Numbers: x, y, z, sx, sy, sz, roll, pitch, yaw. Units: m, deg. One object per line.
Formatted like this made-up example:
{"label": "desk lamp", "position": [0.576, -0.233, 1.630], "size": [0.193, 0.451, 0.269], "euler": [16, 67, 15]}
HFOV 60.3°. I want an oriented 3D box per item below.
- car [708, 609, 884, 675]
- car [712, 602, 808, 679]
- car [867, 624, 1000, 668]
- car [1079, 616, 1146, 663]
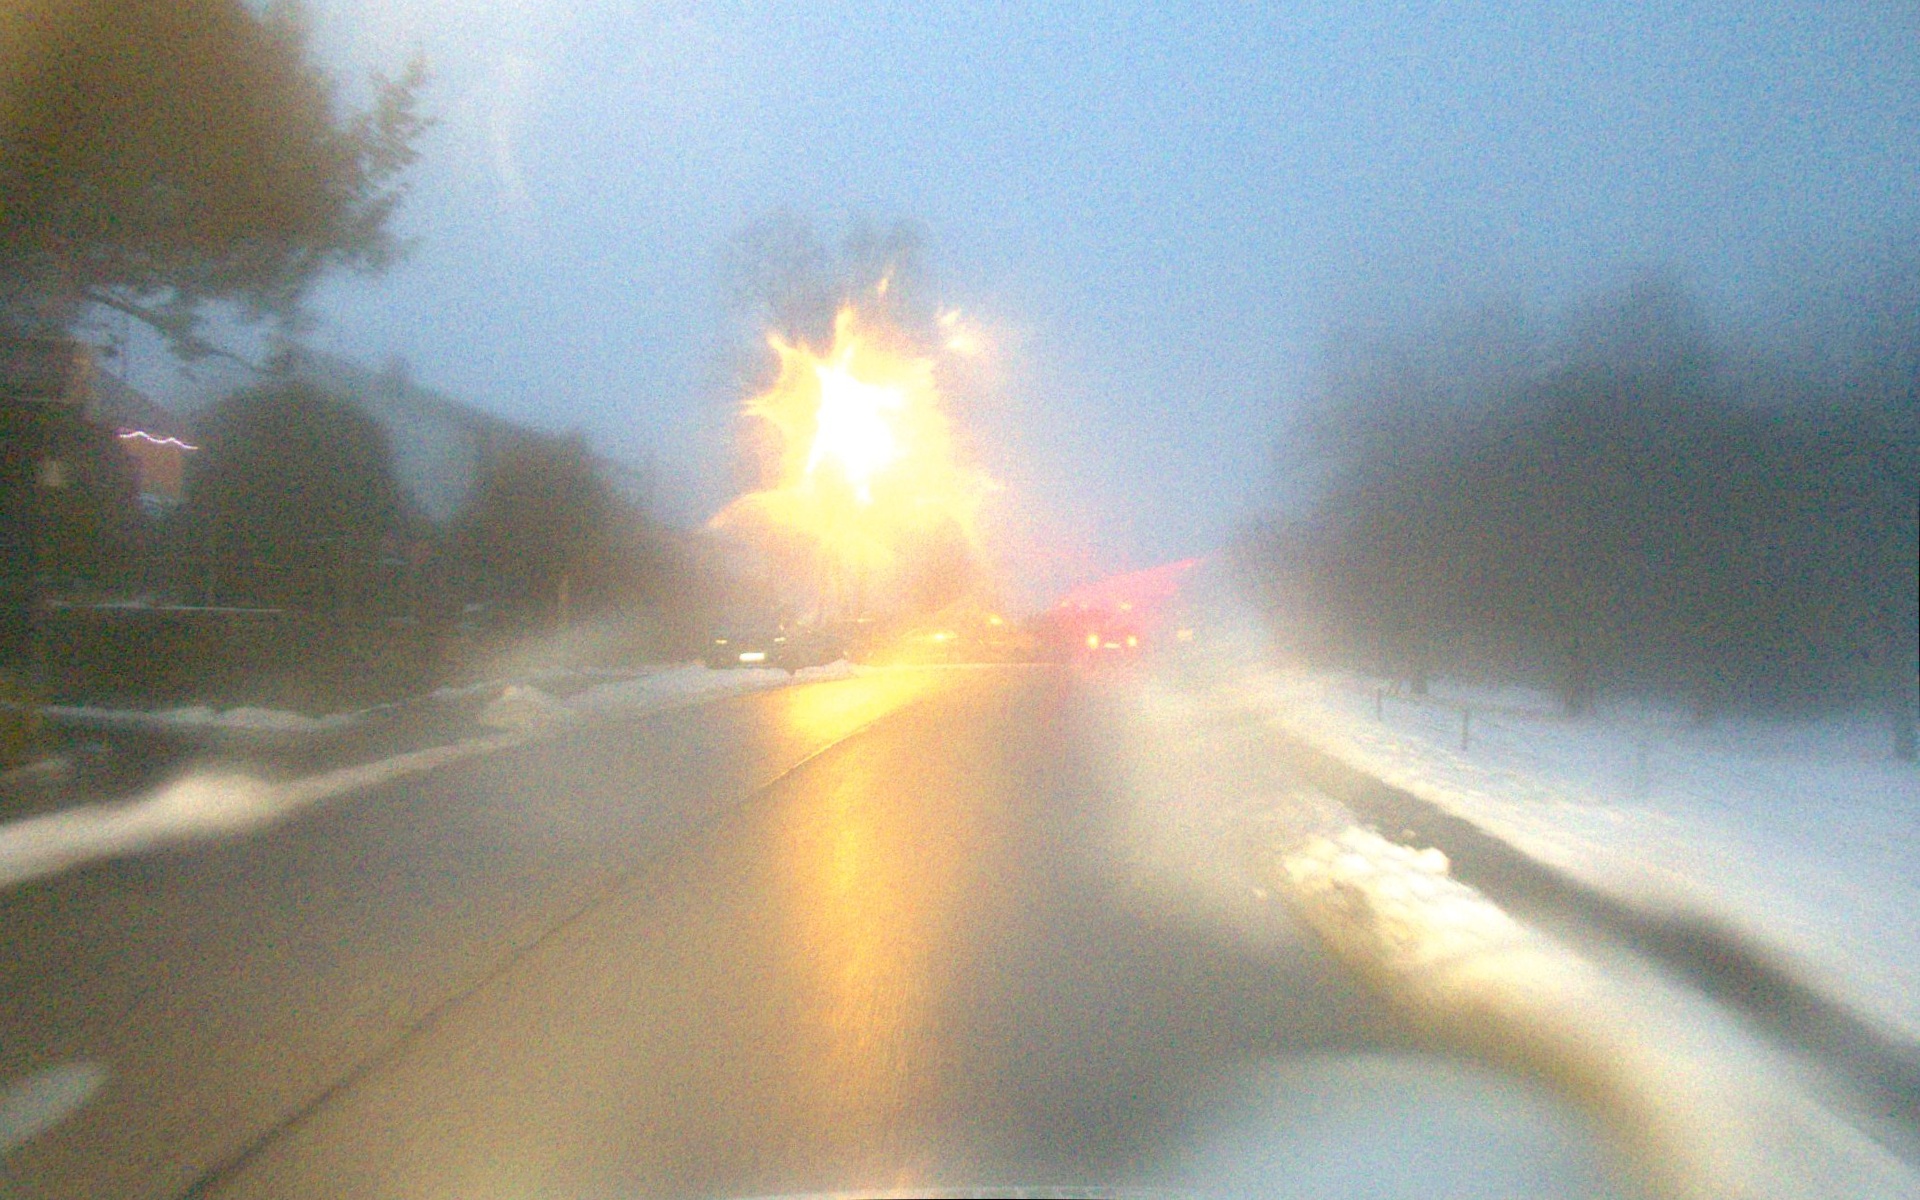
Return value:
{"label": "car", "position": [-4.325, 1.124, 44.156], "size": [4.434, 1.594, 2.110], "euler": [-2, -2, 0]}
{"label": "car", "position": [-4.707, 0.973, 38.391], "size": [1.957, 1.594, 4.986], "euler": [-2, -2, -9]}
{"label": "car", "position": [-0.983, 1.746, 63.039], "size": [4.783, 1.511, 2.125], "euler": [-2, -2, 8]}
{"label": "car", "position": [5.083, 1.278, 54.853], "size": [1.951, 1.445, 4.003], "euler": [1, 0, 9]}
